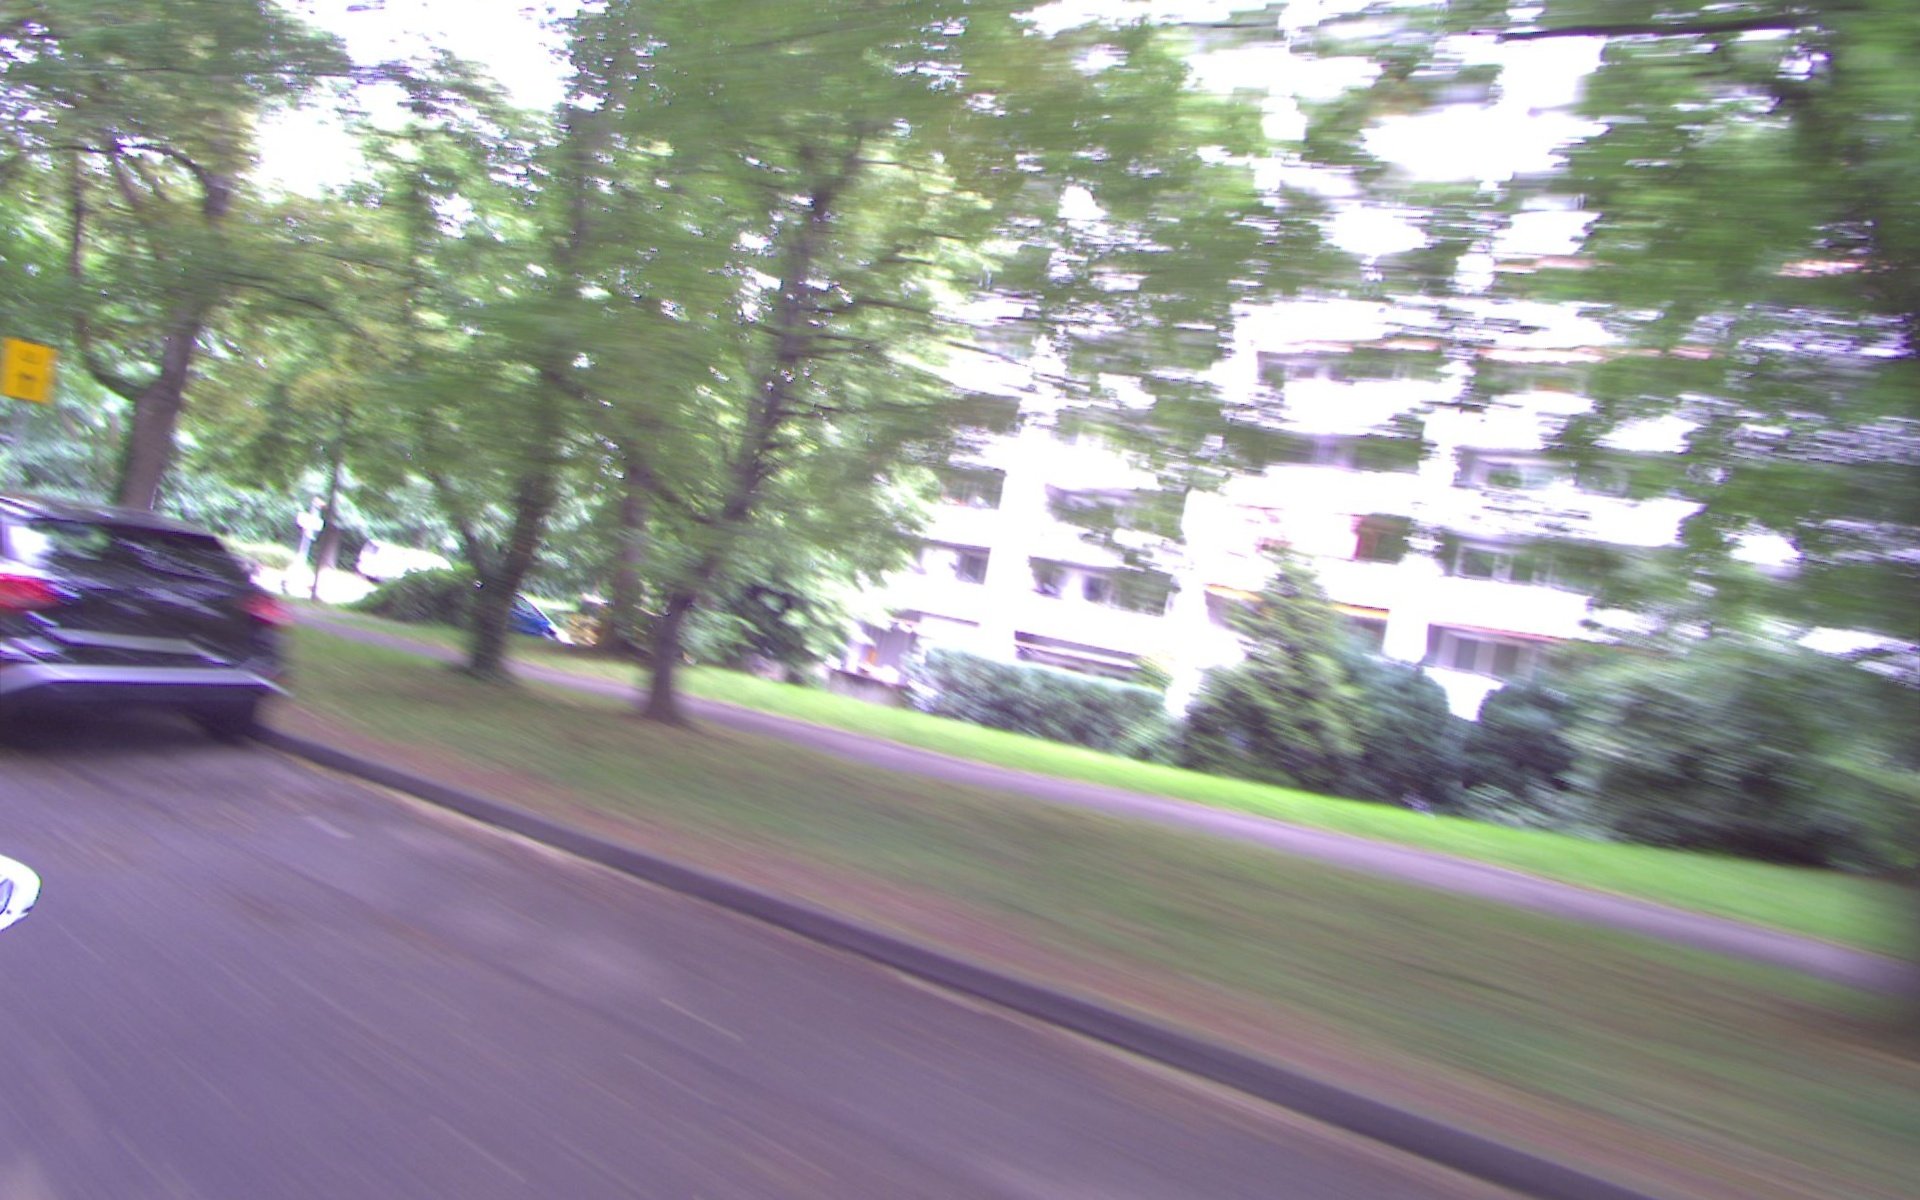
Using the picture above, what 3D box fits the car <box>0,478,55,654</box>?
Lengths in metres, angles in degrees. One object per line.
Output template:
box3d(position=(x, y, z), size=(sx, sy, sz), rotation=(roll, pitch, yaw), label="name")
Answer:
box3d(position=(-10.419, -0.606, 9.174), size=(3.713, 1.539, 1.781), rotation=(8, -2, 25), label="car")

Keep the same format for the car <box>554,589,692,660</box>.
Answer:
box3d(position=(-12.478, 0.954, 37.487), size=(1.804, 1.868, 4.403), rotation=(8, -3, 37), label="car")

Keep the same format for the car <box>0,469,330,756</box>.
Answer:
box3d(position=(-6.569, -0.075, 7.083), size=(4.112, 1.539, 1.779), rotation=(8, -2, 31), label="car")

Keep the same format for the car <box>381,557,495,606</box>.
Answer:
box3d(position=(-24.108, -0.833, 46.625), size=(1.771, 1.515, 4.215), rotation=(8, -3, 33), label="car")

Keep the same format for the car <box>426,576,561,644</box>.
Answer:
box3d(position=(-15.495, 0.347, 33.524), size=(1.806, 1.587, 3.518), rotation=(8, -3, 41), label="car")

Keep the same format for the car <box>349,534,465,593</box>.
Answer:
box3d(position=(-26.470, -1.727, 48.268), size=(1.968, 2.035, 4.215), rotation=(8, -3, 33), label="car")
